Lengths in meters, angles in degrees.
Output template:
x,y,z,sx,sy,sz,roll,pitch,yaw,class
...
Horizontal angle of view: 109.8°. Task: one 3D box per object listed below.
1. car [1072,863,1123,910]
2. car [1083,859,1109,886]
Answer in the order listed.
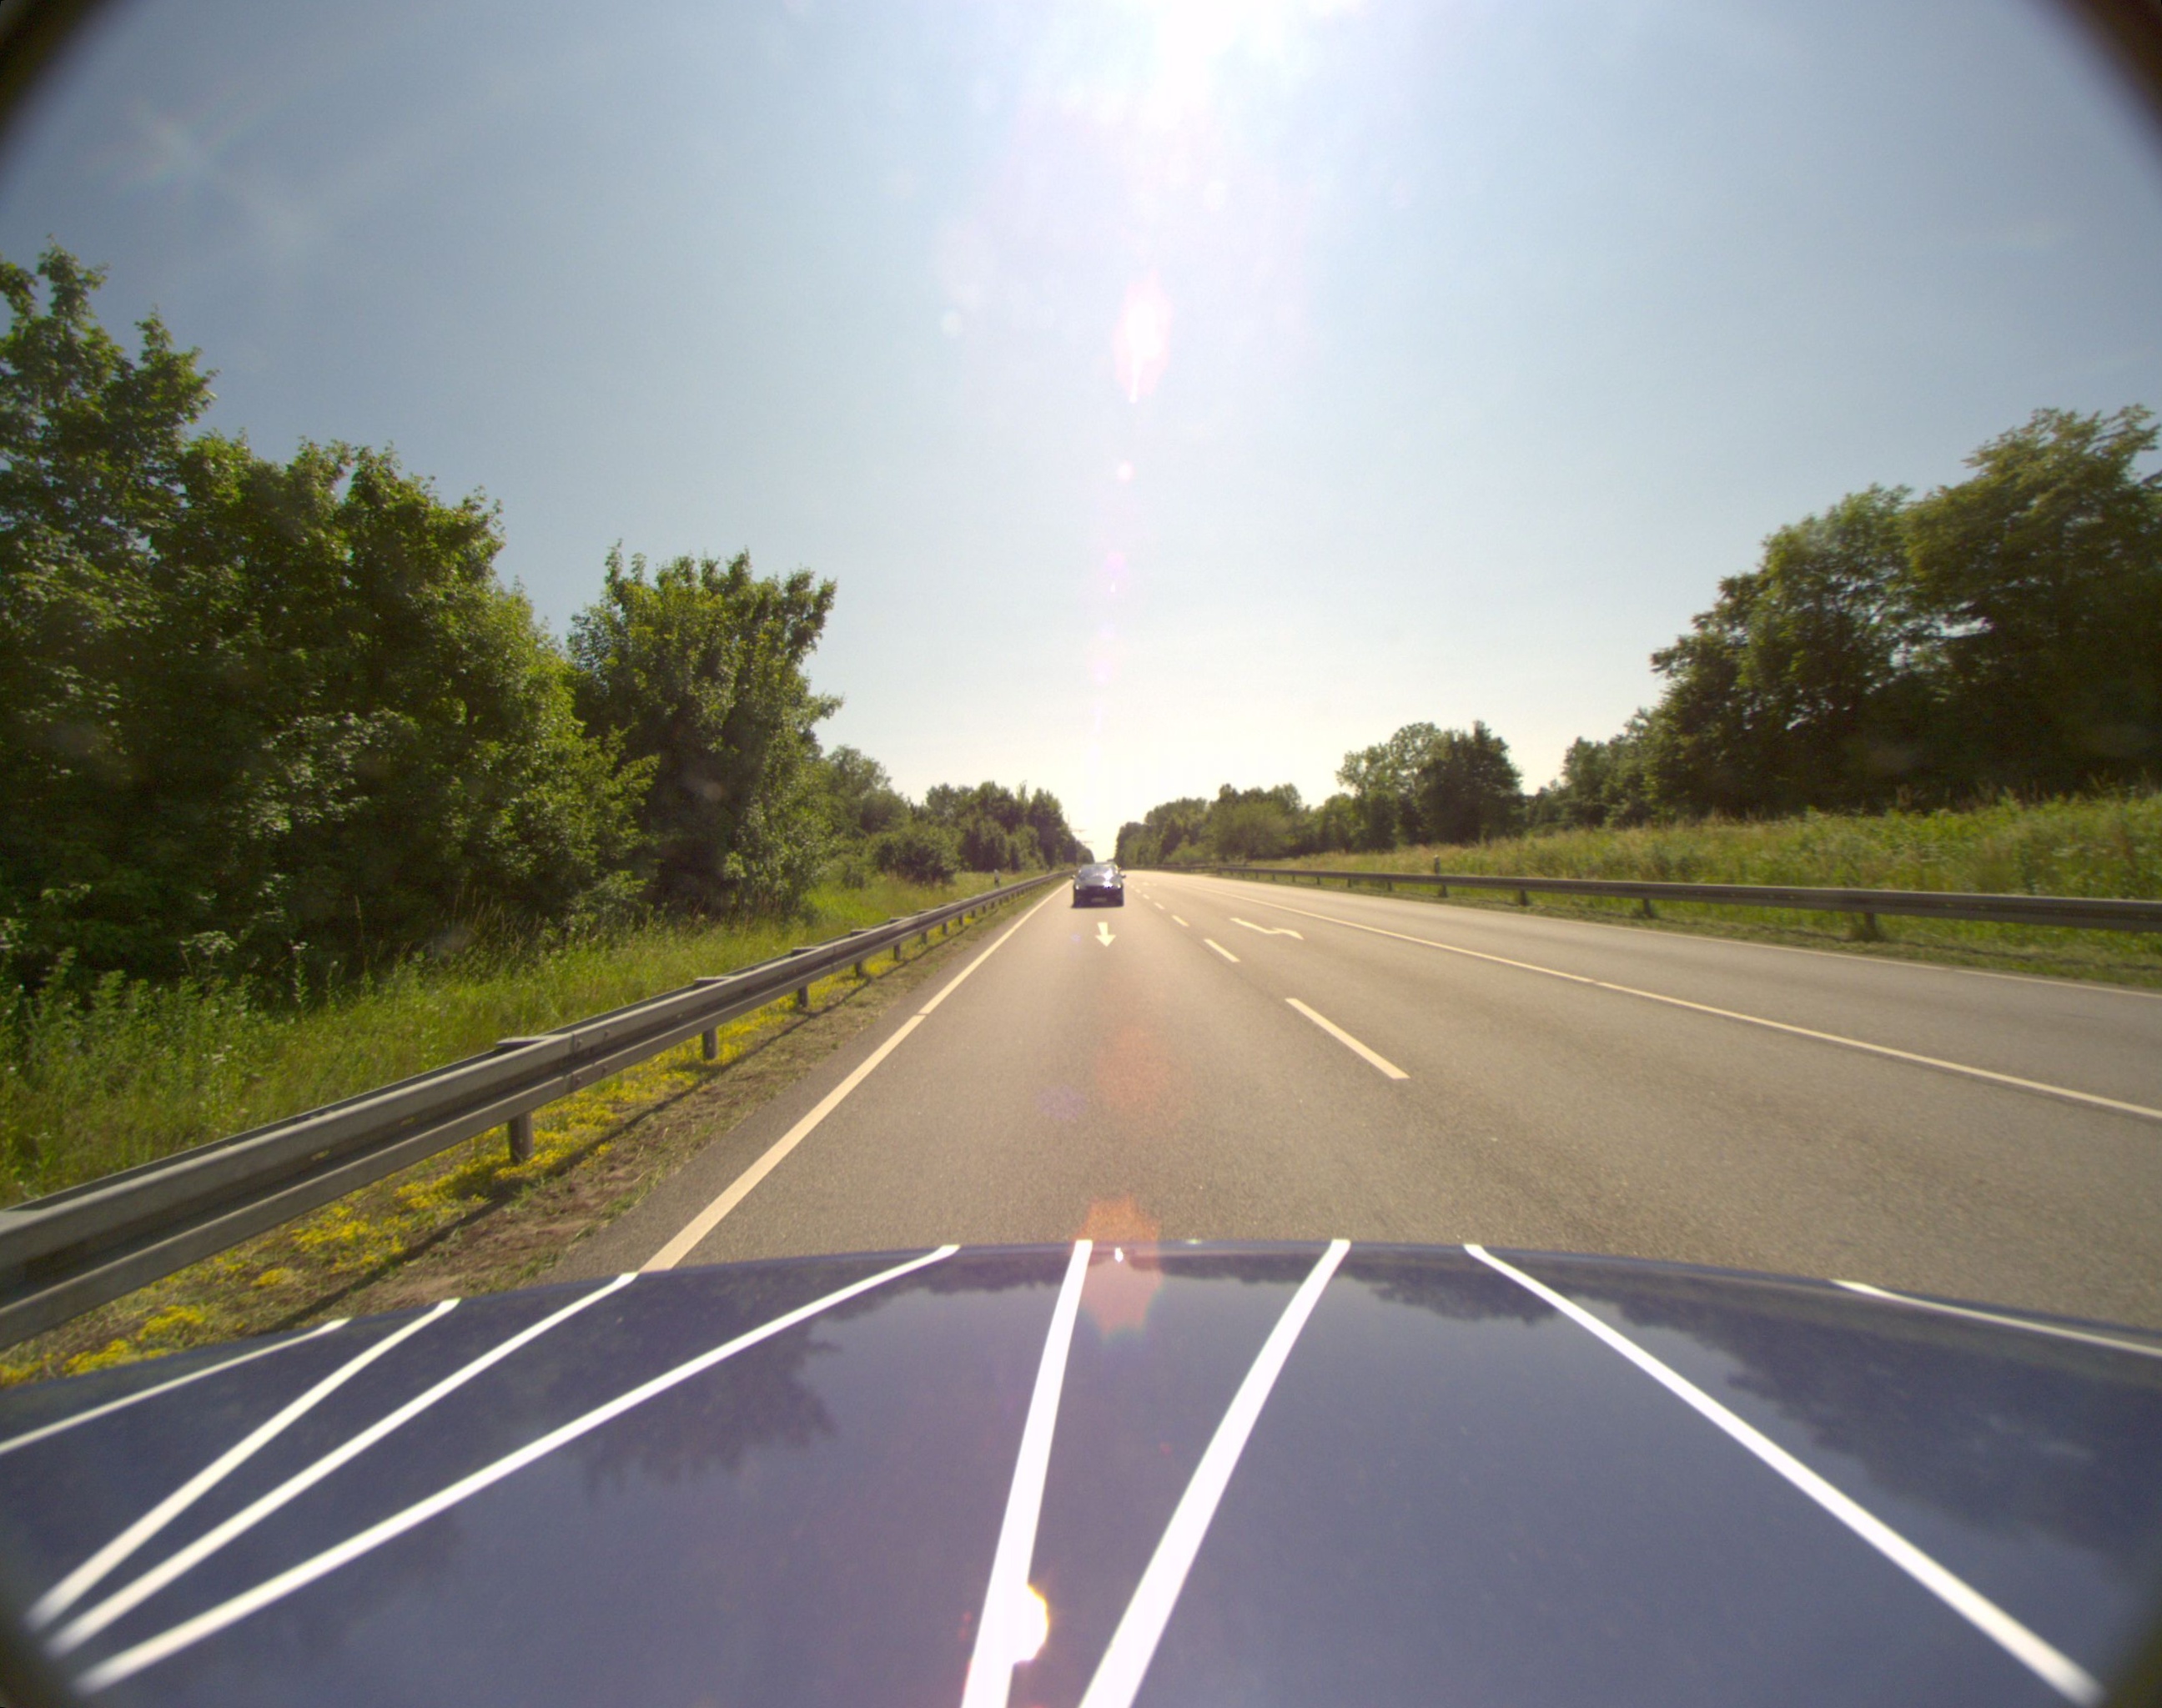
x,y,z,sx,sy,sz,roll,pitch,yaw,class
0.568,1.026,25.206,1.529,1.387,3.444,-2,0,2,car
0.851,1.056,44.473,1.443,1.443,3.298,-2,0,0,car
